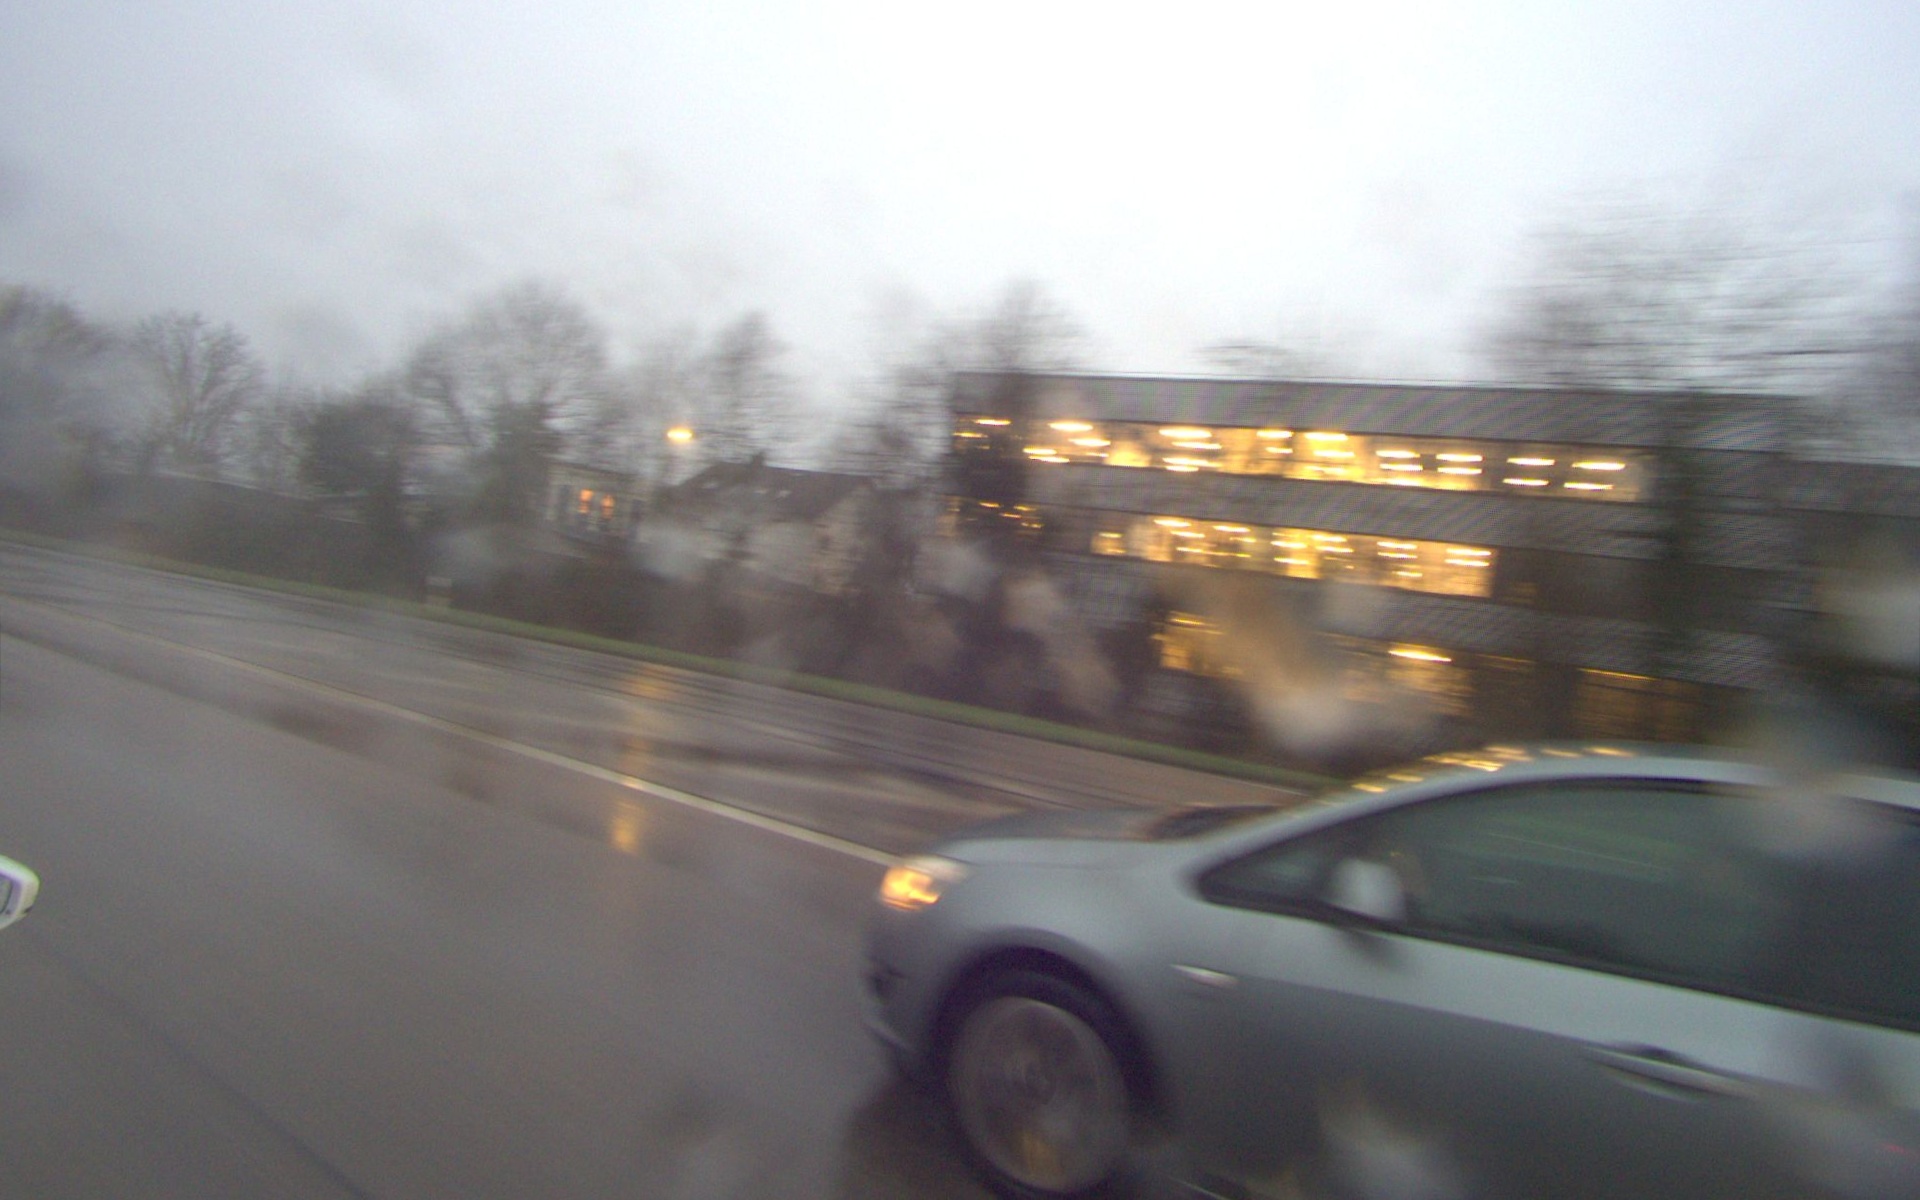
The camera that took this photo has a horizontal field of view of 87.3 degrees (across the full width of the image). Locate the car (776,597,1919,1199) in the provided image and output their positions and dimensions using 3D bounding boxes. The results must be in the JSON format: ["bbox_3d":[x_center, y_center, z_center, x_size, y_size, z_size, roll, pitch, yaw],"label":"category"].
[{"bbox_3d":[1.786,1.056,2.743,4.191,1.518,1.854,7,-3,32],"label":"car"}]
